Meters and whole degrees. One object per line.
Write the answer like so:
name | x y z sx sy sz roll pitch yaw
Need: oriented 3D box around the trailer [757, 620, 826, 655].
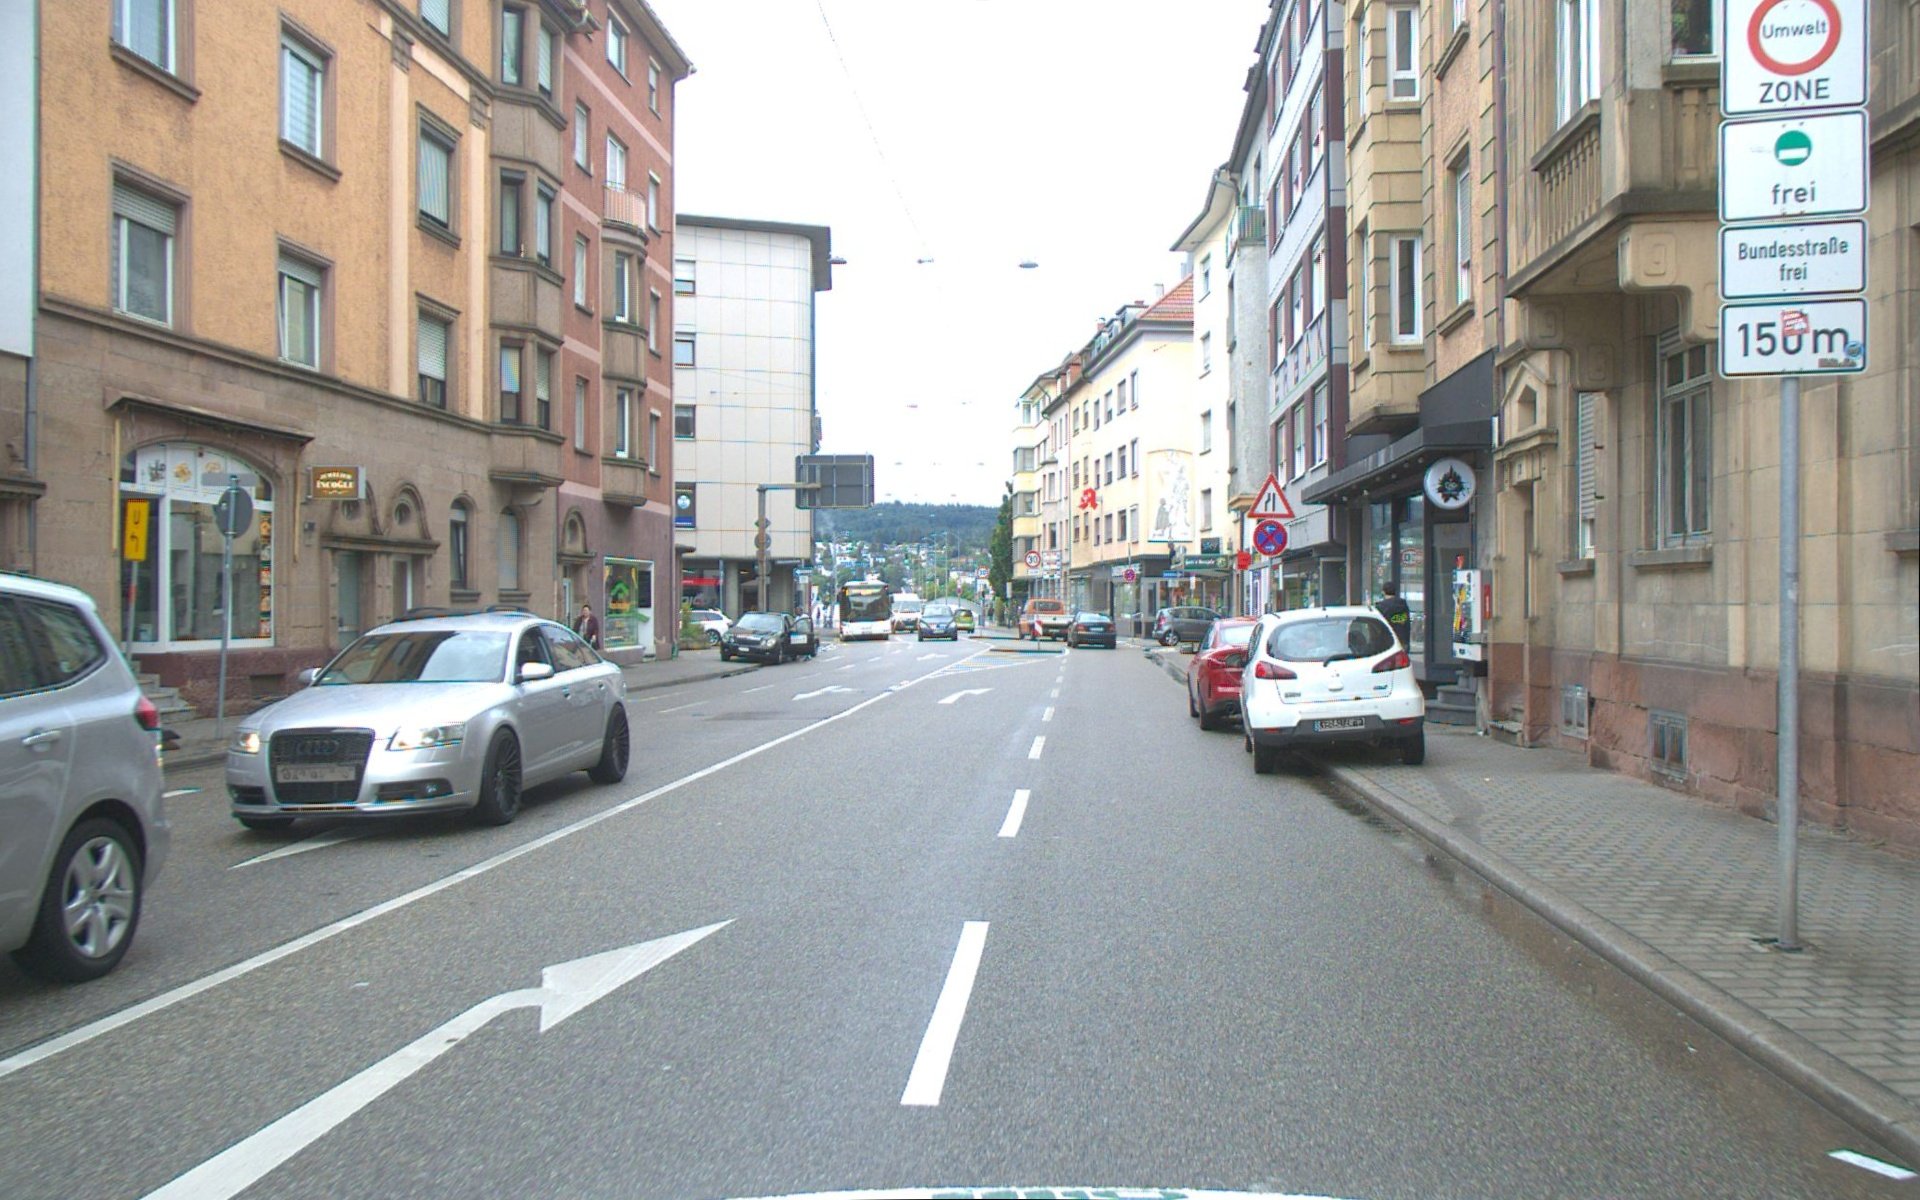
trailer | -5.457 1.196 53.804 1.554 0.965 3.058 4 0 6

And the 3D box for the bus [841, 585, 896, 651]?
bus | -4.880 0.953 86.824 2.704 3.244 8.903 -1 -1 -4

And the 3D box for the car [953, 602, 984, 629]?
car | 0.512 1.041 108.648 1.719 1.680 3.996 -1 -1 -4

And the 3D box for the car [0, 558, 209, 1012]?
car | -4.420 0.657 5.126 1.902 1.611 4.522 -1 -1 4

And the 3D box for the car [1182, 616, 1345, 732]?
car | 4.071 0.945 22.787 1.707 1.393 4.317 -1 0 4

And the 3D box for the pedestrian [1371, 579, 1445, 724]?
pedestrian | 5.746 0.654 21.248 0.728 1.810 0.796 -1 -1 2

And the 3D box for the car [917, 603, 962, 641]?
car | -0.975 1.002 75.728 1.720 1.680 4.302 -1 -1 -5

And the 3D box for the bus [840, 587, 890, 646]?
bus | -5.580 0.988 95.929 2.672 3.244 9.283 -1 -1 -4

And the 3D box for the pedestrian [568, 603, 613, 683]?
pedestrian | -8.111 0.945 36.315 0.826 1.708 0.851 2 -2 -8

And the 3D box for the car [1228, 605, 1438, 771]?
car | 3.792 0.848 17.483 1.612 1.520 4.451 -1 -1 6

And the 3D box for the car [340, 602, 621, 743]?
car | -6.051 0.888 21.446 1.939 1.623 4.340 -1 -1 7

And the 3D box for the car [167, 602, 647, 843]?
car | -3.914 0.809 12.663 1.902 1.496 4.561 -1 -1 4

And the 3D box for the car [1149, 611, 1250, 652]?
car | 9.705 1.280 67.177 3.748 1.601 1.935 -1 -1 -2

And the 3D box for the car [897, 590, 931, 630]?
car | -2.903 0.685 105.315 2.044 2.478 6.351 -1 -1 -1

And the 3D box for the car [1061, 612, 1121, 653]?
car | 5.032 1.250 63.804 1.719 1.505 3.996 -1 -1 -4

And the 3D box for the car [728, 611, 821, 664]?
car | -5.507 1.093 49.651 1.811 1.422 4.795 3 0 5

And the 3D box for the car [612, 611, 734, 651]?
car | -11.607 1.254 67.000 4.568 1.560 1.891 0 -1 -25

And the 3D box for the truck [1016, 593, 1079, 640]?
truck | 4.144 0.806 79.555 2.353 2.167 5.309 -1 -1 -5
